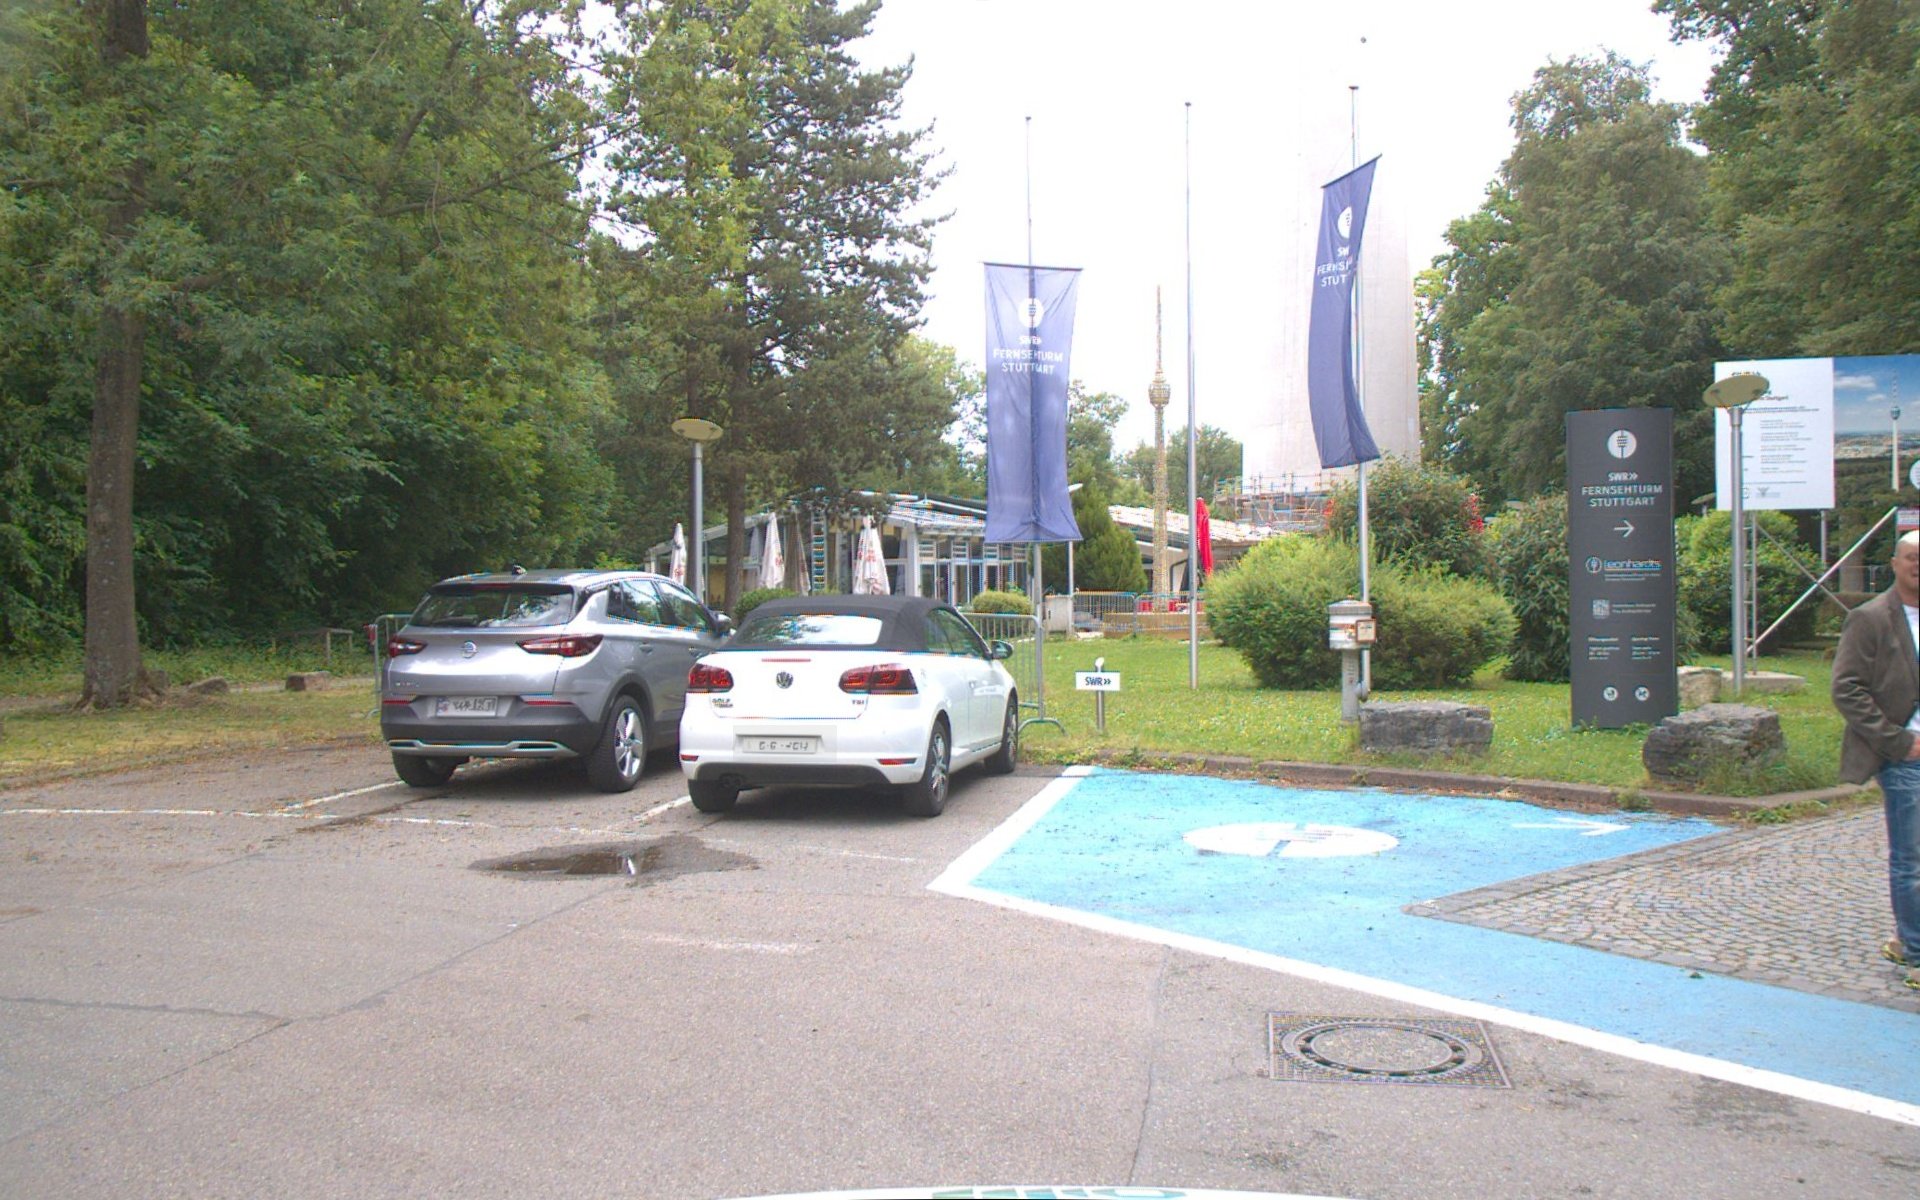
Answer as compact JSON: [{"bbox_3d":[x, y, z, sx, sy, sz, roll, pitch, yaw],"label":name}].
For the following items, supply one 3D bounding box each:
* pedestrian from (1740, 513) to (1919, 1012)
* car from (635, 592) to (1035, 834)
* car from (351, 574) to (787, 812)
[{"bbox_3d":[3.612,0.567,6.311,0.750,1.755,0.892,0,0,-18],"label":"pedestrian"},{"bbox_3d":[-0.710,0.681,12.195,1.852,1.453,4.004,0,0,13],"label":"car"},{"bbox_3d":[-2.931,0.618,13.377,1.852,1.612,4.003,0,0,13],"label":"car"}]
